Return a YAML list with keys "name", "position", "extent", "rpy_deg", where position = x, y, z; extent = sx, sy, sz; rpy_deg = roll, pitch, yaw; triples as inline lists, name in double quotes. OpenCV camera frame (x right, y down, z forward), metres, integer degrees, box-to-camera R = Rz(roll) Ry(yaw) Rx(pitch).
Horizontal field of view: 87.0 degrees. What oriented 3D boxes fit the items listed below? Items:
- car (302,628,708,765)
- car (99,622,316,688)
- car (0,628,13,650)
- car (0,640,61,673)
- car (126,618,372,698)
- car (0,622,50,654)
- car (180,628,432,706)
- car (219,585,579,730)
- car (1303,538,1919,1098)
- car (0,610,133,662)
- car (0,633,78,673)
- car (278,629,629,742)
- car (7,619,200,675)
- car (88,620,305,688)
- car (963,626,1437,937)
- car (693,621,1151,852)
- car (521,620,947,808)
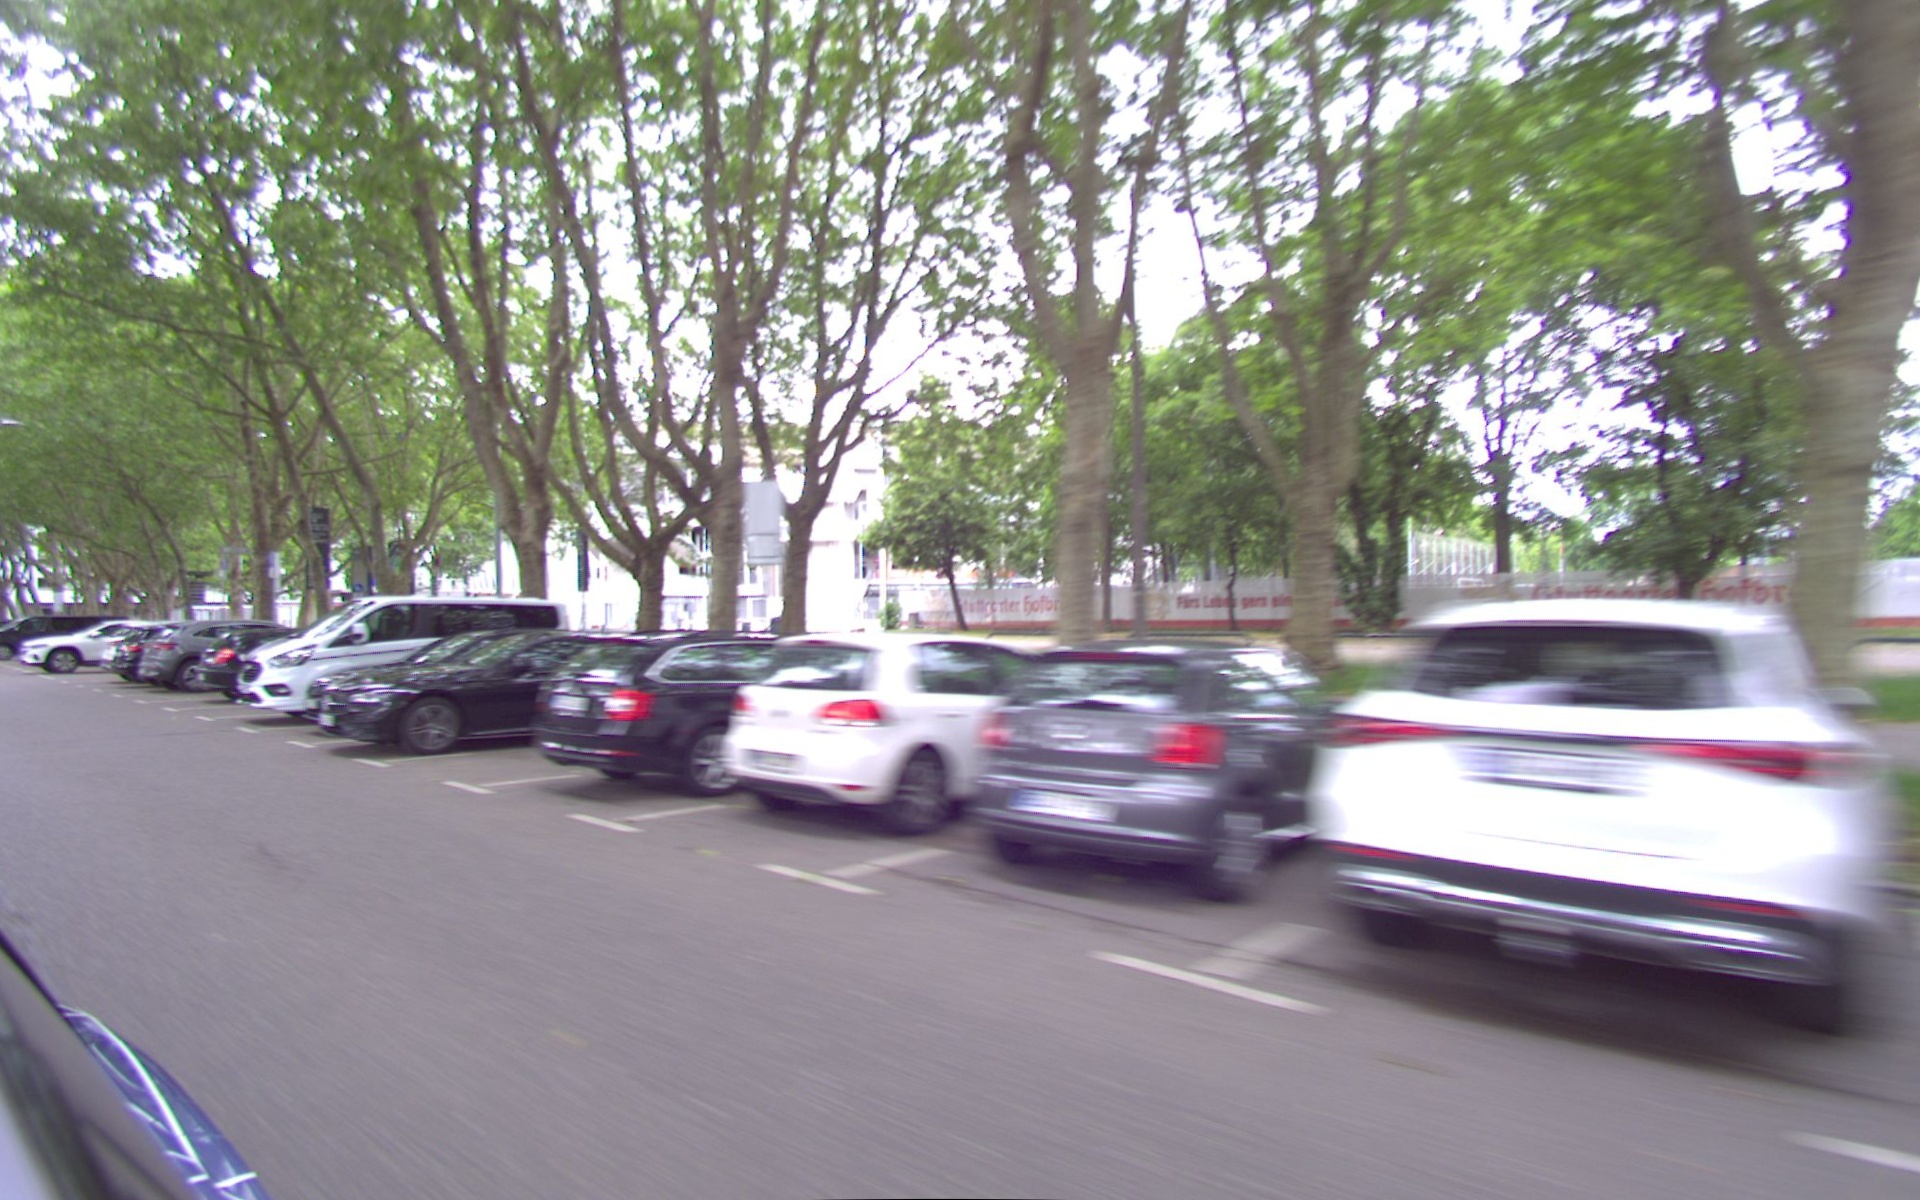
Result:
- name: "car"
  position: [-5.635, 1.106, 12.966]
  extent: [4.397, 1.463, 1.775]
  rpy_deg: [2, -3, -45]
- name: "car"
  position: [-18.477, 1.344, 24.976]
  extent: [1.841, 1.487, 3.947]
  rpy_deg: [-2, -4, 39]
- name: "car"
  position: [-72.873, 2.908, 74.515]
  extent: [1.758, 1.630, 4.466]
  rpy_deg: [-2, -1, 44]
- name: "car"
  position: [-53.008, 3.121, 56.141]
  extent: [1.798, 1.795, 4.528]
  rpy_deg: [-3, -4, 43]
- name: "car"
  position: [-16.494, 1.340, 23.651]
  extent: [1.998, 1.680, 4.296]
  rpy_deg: [-2, -4, 40]
- name: "car"
  position: [-58.459, 2.297, 61.195]
  extent: [2.208, 1.939, 4.852]
  rpy_deg: [-2, -3, 42]
- name: "car"
  position: [-13.079, 1.320, 20.410]
  extent: [1.683, 1.424, 3.944]
  rpy_deg: [-2, -4, 42]
- name: "car"
  position: [-9.071, 0.898, 16.793]
  extent: [1.917, 2.035, 4.846]
  rpy_deg: [-1, -3, 38]
- name: "car"
  position: [3.342, 0.706, 4.997]
  extent: [1.950, 1.640, 3.789]
  rpy_deg: [-2, -3, 39]
- name: "car"
  position: [-39.861, 1.598, 44.311]
  extent: [1.938, 2.144, 5.380]
  rpy_deg: [-3, -4, 40]
- name: "car"
  position: [-45.224, 2.548, 48.280]
  extent: [4.599, 1.834, 1.807]
  rpy_deg: [3, -5, -45]
- name: "car"
  position: [-7.465, 1.183, 15.300]
  extent: [1.773, 1.463, 4.402]
  rpy_deg: [-1, -3, 41]
- name: "car"
  position: [-26.733, 1.458, 31.705]
  extent: [1.998, 1.609, 4.335]
  rpy_deg: [-2, -3, 40]
- name: "car"
  position: [-20.443, 1.444, 27.257]
  extent: [1.998, 1.680, 4.296]
  rpy_deg: [-2, -4, 40]
- name: "car"
  position: [1.847, 0.939, 6.885]
  extent: [1.692, 1.482, 3.789]
  rpy_deg: [-2, -3, 39]
- name: "car"
  position: [-0.130, 0.963, 8.550]
  extent: [1.863, 1.485, 3.717]
  rpy_deg: [-2, -3, 40]
- name: "car"
  position: [-2.023, 1.011, 10.011]
  extent: [1.536, 1.482, 3.953]
  rpy_deg: [-2, -4, 41]
